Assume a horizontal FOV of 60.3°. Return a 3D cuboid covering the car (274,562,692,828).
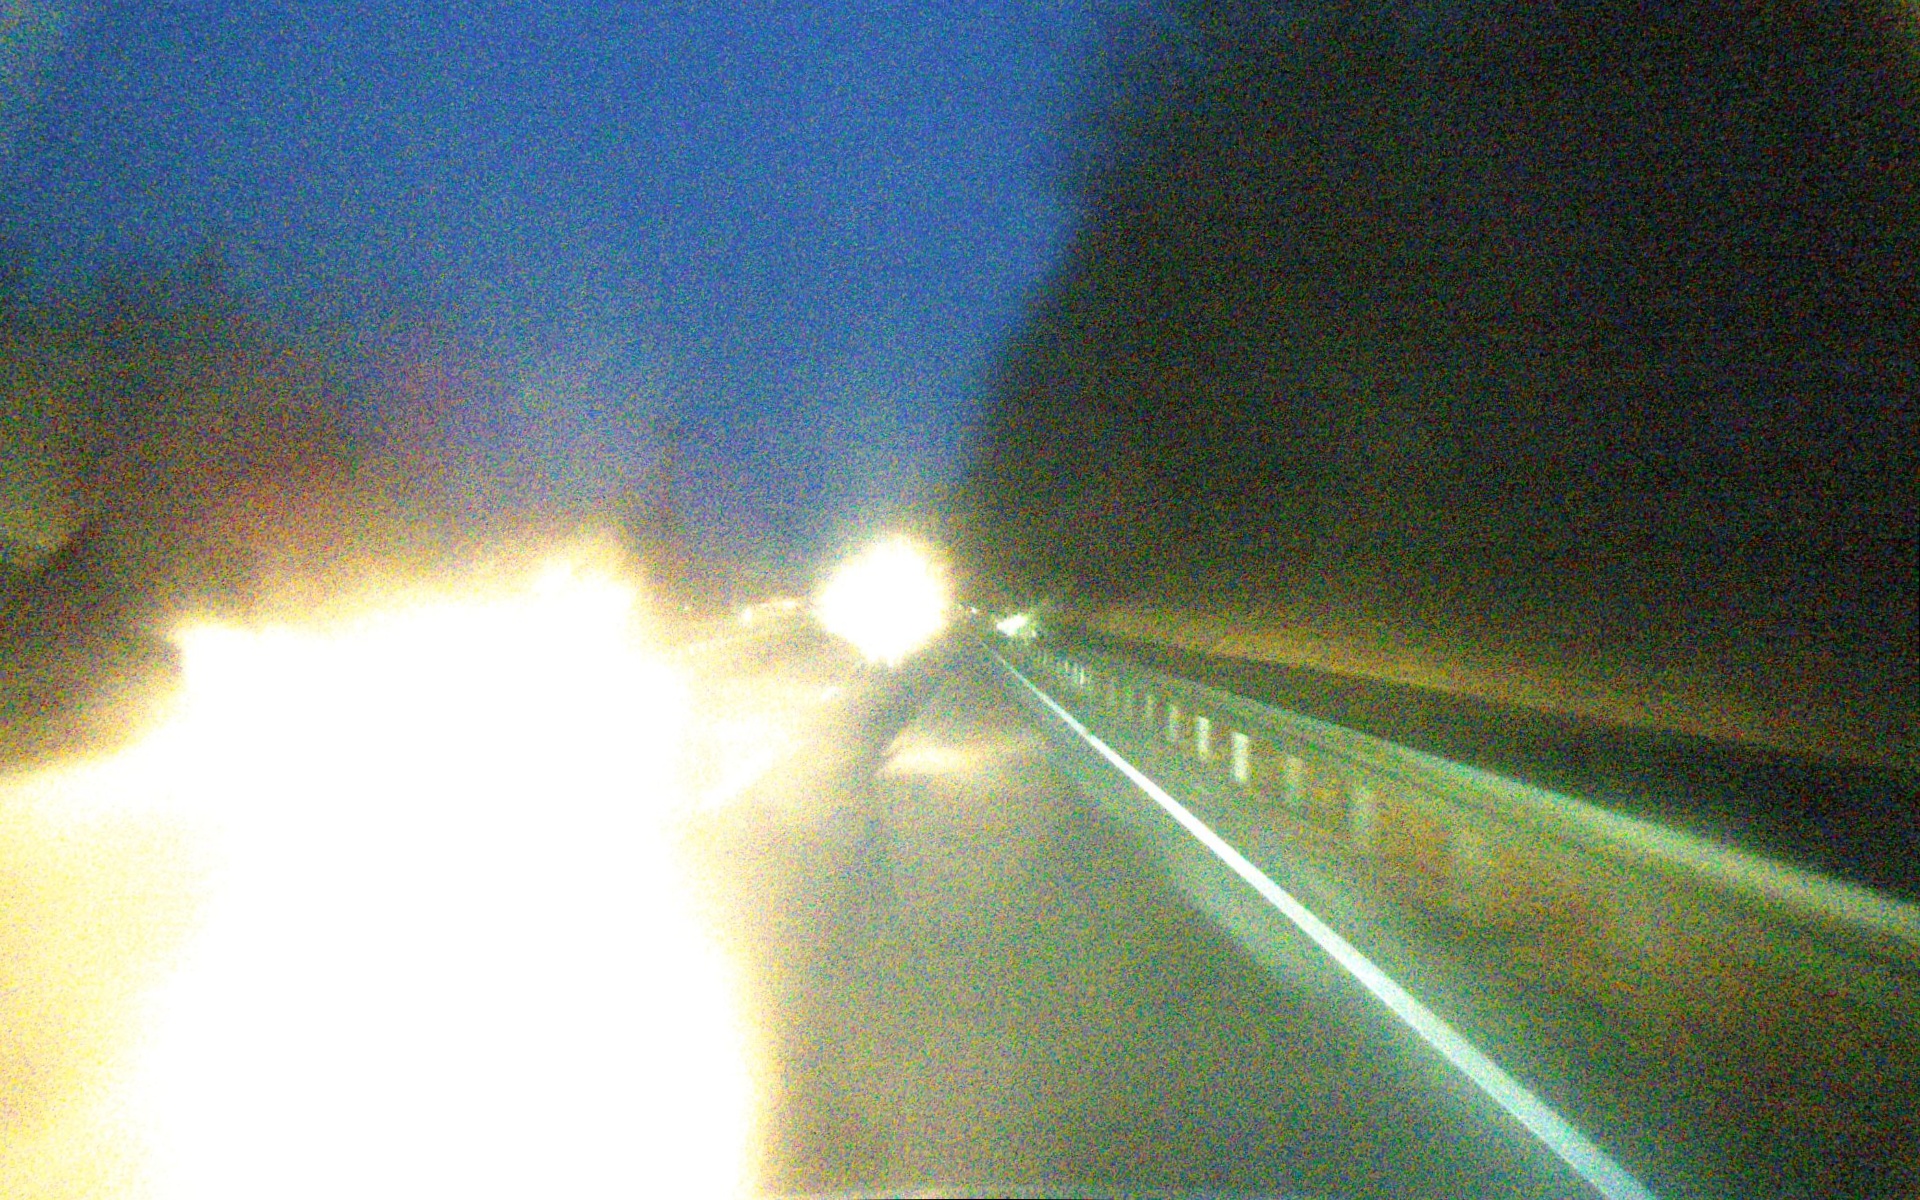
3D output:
[{"bbox_3d":[-3.236,0.595,12.247,1.797,1.572,4.645,1,-1,-1],"label":"car"}]
